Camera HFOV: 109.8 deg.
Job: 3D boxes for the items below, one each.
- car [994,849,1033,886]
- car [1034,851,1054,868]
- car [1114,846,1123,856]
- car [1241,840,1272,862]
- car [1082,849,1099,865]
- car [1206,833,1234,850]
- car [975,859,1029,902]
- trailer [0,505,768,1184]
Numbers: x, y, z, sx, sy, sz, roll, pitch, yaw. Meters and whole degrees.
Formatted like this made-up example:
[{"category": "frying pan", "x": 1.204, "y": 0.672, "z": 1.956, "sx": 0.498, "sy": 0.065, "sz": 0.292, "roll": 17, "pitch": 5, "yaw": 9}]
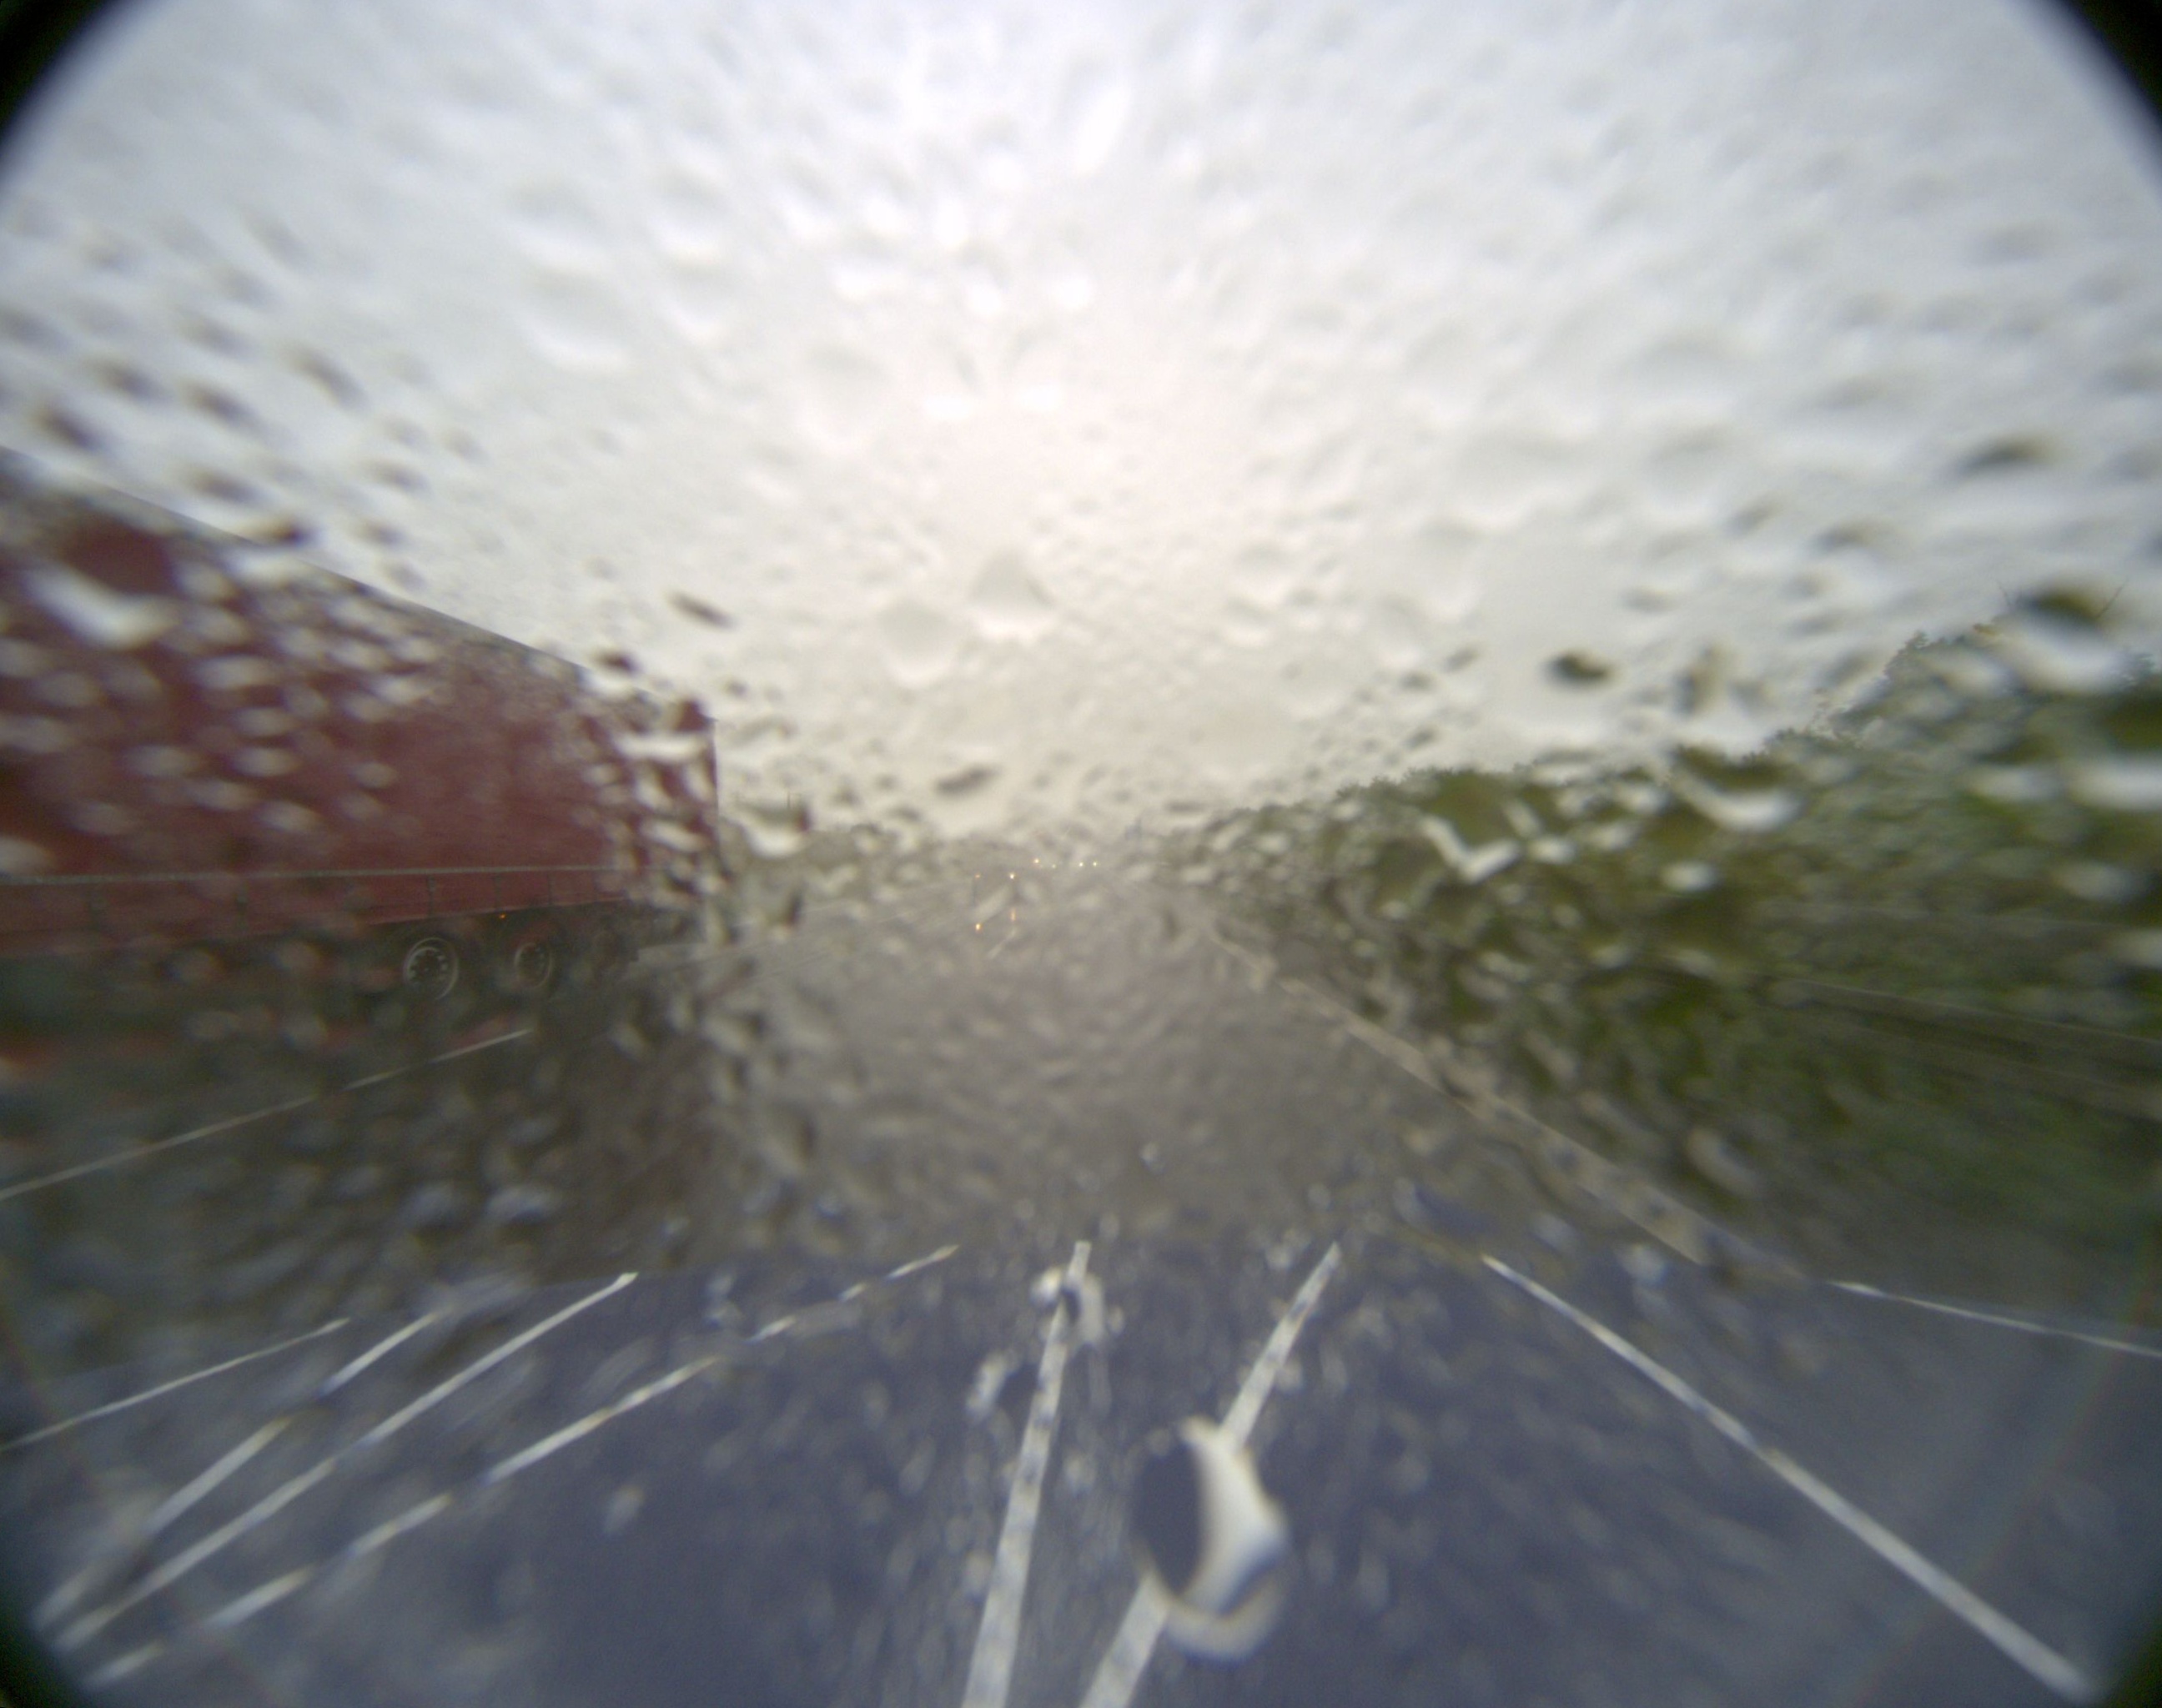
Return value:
[{"category": "car", "x": -3.162, "y": 0.612, "z": 36.101, "sx": 1.517, "sy": 1.607, "sz": 3.186, "roll": -2, "pitch": 1, "yaw": -1}, {"category": "car", "x": -3.834, "y": 0.597, "z": 80.080, "sx": 1.845, "sy": 1.671, "sz": 3.999, "roll": -2, "pitch": 1, "yaw": 0}, {"category": "car", "x": 8.259, "y": -0.701, "z": 166.528, "sx": 1.845, "sy": 2.002, "sz": 4.000, "roll": -2, "pitch": 1, "yaw": 1}, {"category": "car", "x": 16.100, "y": -0.321, "z": 69.970, "sx": 1.833, "sy": 1.912, "sz": 4.367, "roll": -2, "pitch": 1, "yaw": 1}, {"category": "car", "x": 1.054, "y": 0.339, "z": 84.704, "sx": 1.845, "sy": 1.671, "sz": 3.999, "roll": -2, "pitch": 1, "yaw": 0}, {"category": "car", "x": 20.756, "y": -1.875, "z": 113.558, "sx": 3.078, "sy": 2.375, "sz": 5.836, "roll": -2, "pitch": 1, "yaw": 1}, {"category": "car", "x": -3.117, "y": 1.020, "z": 30.618, "sx": 1.663, "sy": 1.491, "sz": 3.836, "roll": -2, "pitch": 1, "yaw": 1}, {"category": "trailer", "x": -7.208, "y": -0.045, "z": 6.102, "sx": 2.486, "sy": 3.744, "sz": 16.541, "roll": -2, "pitch": 1, "yaw": 0}]
